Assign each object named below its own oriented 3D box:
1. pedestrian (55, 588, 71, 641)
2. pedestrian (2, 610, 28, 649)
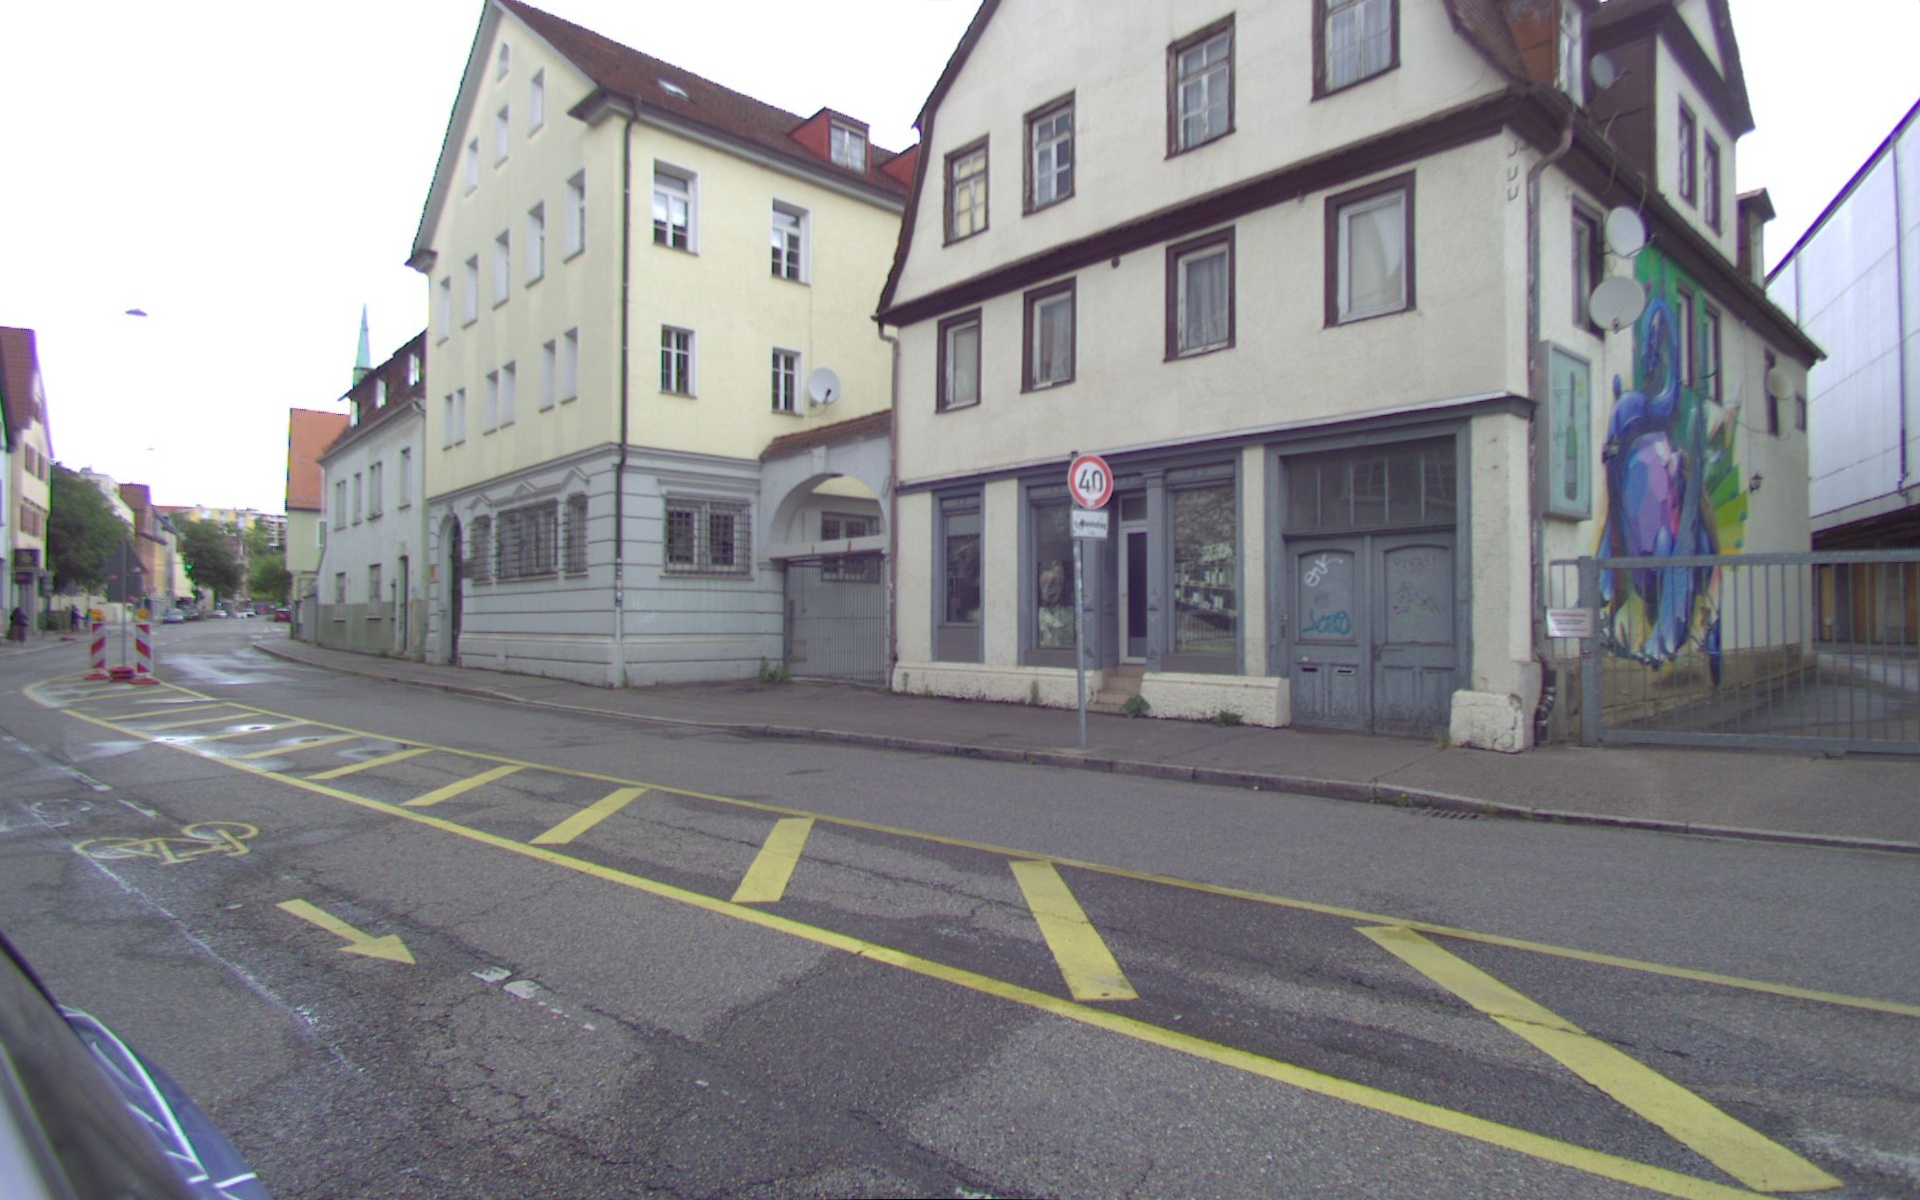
[{"bbox_3d":[-43.846,0.706,49.473,0.487,2.547,0.747,1,-2,-38],"label":"pedestrian"},{"bbox_3d":[-39.200,1.224,41.994,0.714,1.626,0.650,1,-2,-37],"label":"pedestrian"}]
